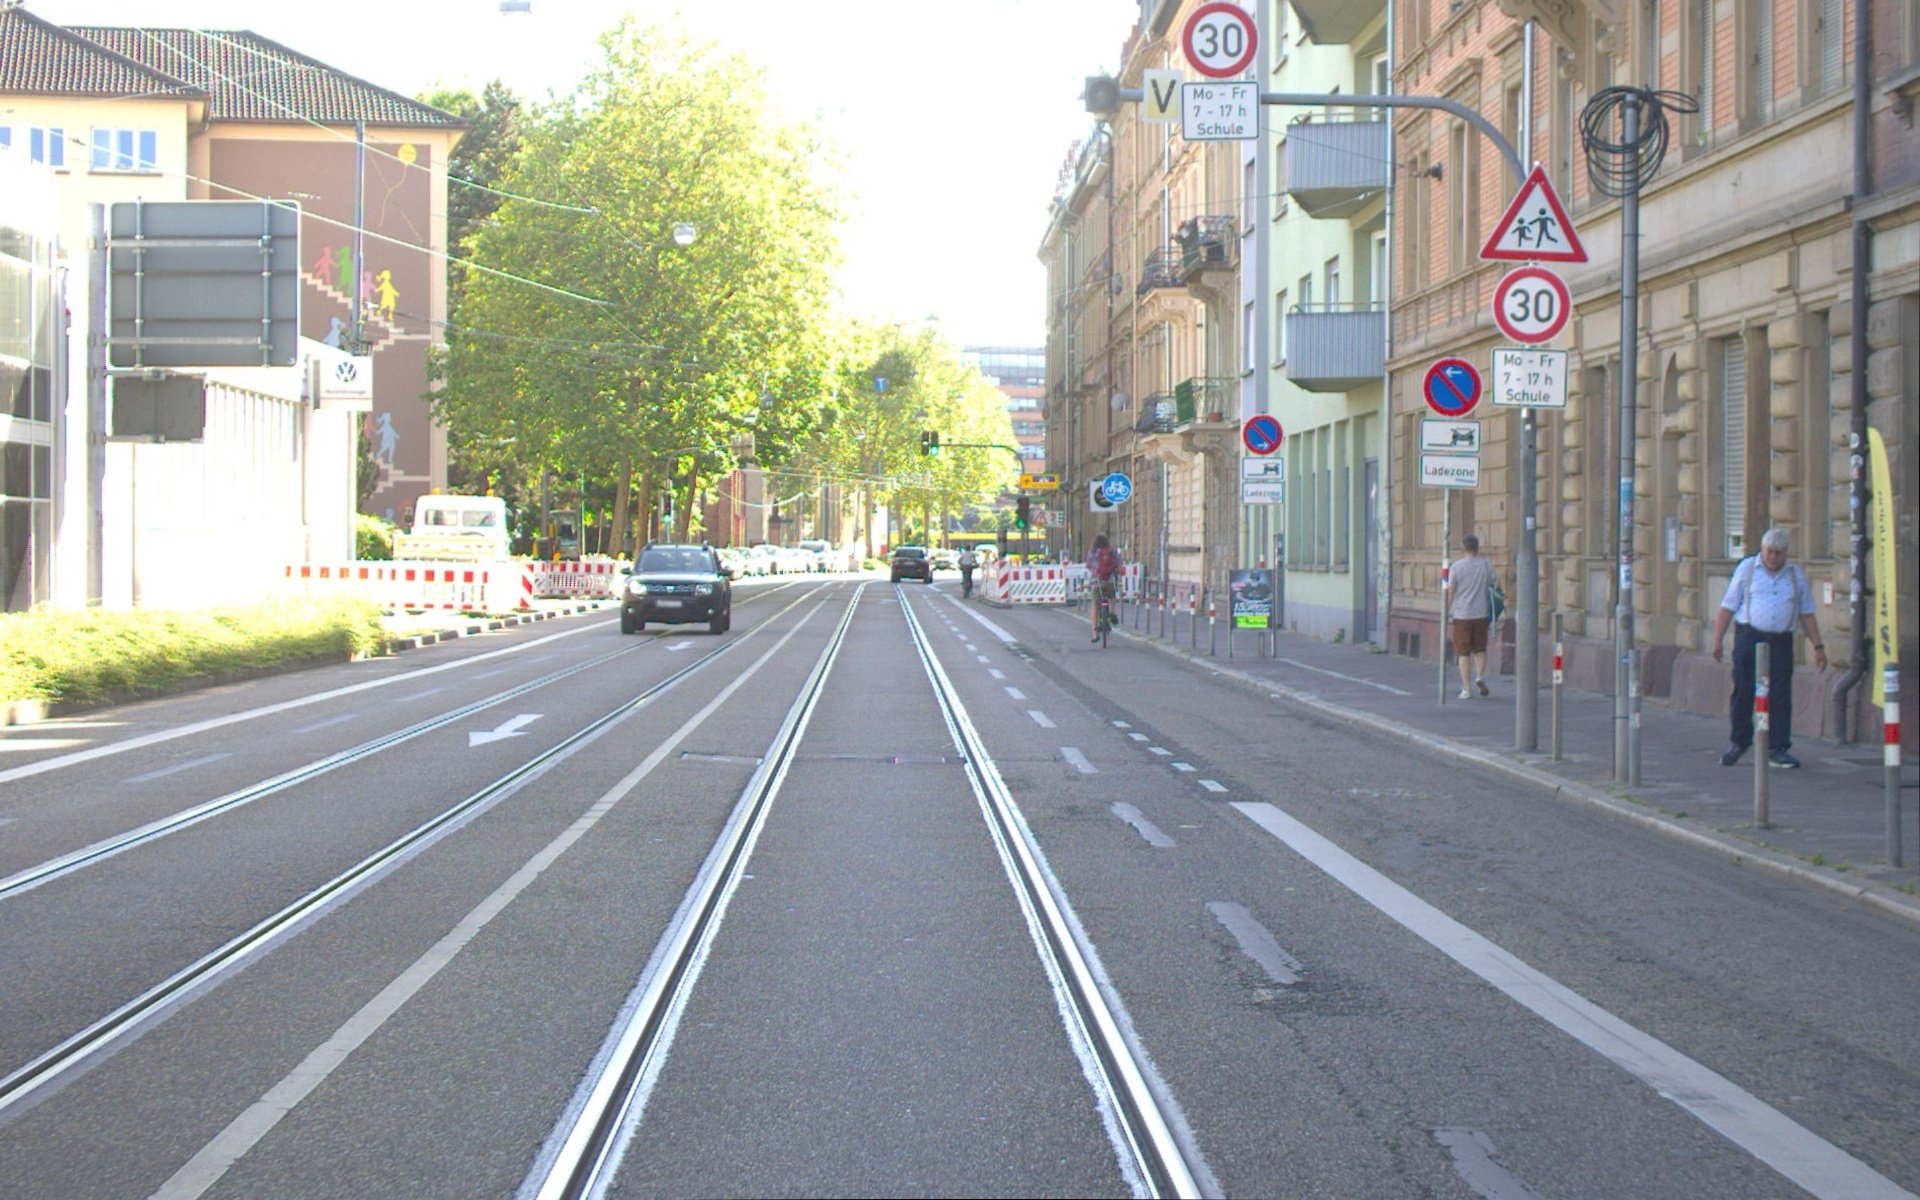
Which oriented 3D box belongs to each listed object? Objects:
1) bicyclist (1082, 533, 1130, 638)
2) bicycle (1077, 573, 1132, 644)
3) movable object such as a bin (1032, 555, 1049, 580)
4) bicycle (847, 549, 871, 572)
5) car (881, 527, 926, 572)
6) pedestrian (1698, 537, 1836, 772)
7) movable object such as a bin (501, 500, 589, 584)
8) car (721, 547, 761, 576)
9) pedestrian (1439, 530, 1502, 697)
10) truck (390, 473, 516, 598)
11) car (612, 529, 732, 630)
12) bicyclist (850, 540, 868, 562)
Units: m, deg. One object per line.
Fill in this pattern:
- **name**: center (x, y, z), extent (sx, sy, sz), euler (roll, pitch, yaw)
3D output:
- **bicyclist**: center (2.407, -0.238, 56.686), extent (0.667, 1.691, 1.043), euler (2, 0, -2)
- **bicycle**: center (2.378, 0.128, 56.850), extent (0.681, 1.110, 2.707), euler (2, 1, -2)
- **movable object such as a bin**: center (3.346, -1.364, 143.715), extent (0.673, 1.032, 0.813), euler (0, 1, -1)
- **bicycle**: center (-7.014, -2.722, 238.276), extent (1.234, 1.567, 2.896), euler (2, 0, 6)
- **car**: center (-2.657, -2.340, 161.518), extent (1.993, 2.007, 4.000), euler (2, 0, -1)
- **pedestrian**: center (5.593, 0.370, 23.852), extent (0.798, 1.599, 0.652), euler (1, 0, 1)
- **movable object such as a bin**: center (-13.769, -1.917, 114.465), extent (2.495, 2.636, 5.990), euler (2, 1, -4)
- **car**: center (-11.919, -2.110, 187.279), extent (1.748, 1.490, 4.043), euler (2, 0, 1)
- **pedestrian**: center (5.269, 0.137, 35.497), extent (0.553, 1.695, 0.474), euler (-1, 0, 3)
- **truck**: center (-12.222, -1.537, 83.361), extent (2.537, 2.820, 6.377), euler (2, 0, -5)
- **car**: center (-5.146, -0.369, 61.870), extent (1.759, 1.691, 4.144), euler (2, 0, 0)
- **bicyclist**: center (-7.007, -3.395, 238.242), extent (1.078, 1.423, 1.146), euler (2, 0, 7)
